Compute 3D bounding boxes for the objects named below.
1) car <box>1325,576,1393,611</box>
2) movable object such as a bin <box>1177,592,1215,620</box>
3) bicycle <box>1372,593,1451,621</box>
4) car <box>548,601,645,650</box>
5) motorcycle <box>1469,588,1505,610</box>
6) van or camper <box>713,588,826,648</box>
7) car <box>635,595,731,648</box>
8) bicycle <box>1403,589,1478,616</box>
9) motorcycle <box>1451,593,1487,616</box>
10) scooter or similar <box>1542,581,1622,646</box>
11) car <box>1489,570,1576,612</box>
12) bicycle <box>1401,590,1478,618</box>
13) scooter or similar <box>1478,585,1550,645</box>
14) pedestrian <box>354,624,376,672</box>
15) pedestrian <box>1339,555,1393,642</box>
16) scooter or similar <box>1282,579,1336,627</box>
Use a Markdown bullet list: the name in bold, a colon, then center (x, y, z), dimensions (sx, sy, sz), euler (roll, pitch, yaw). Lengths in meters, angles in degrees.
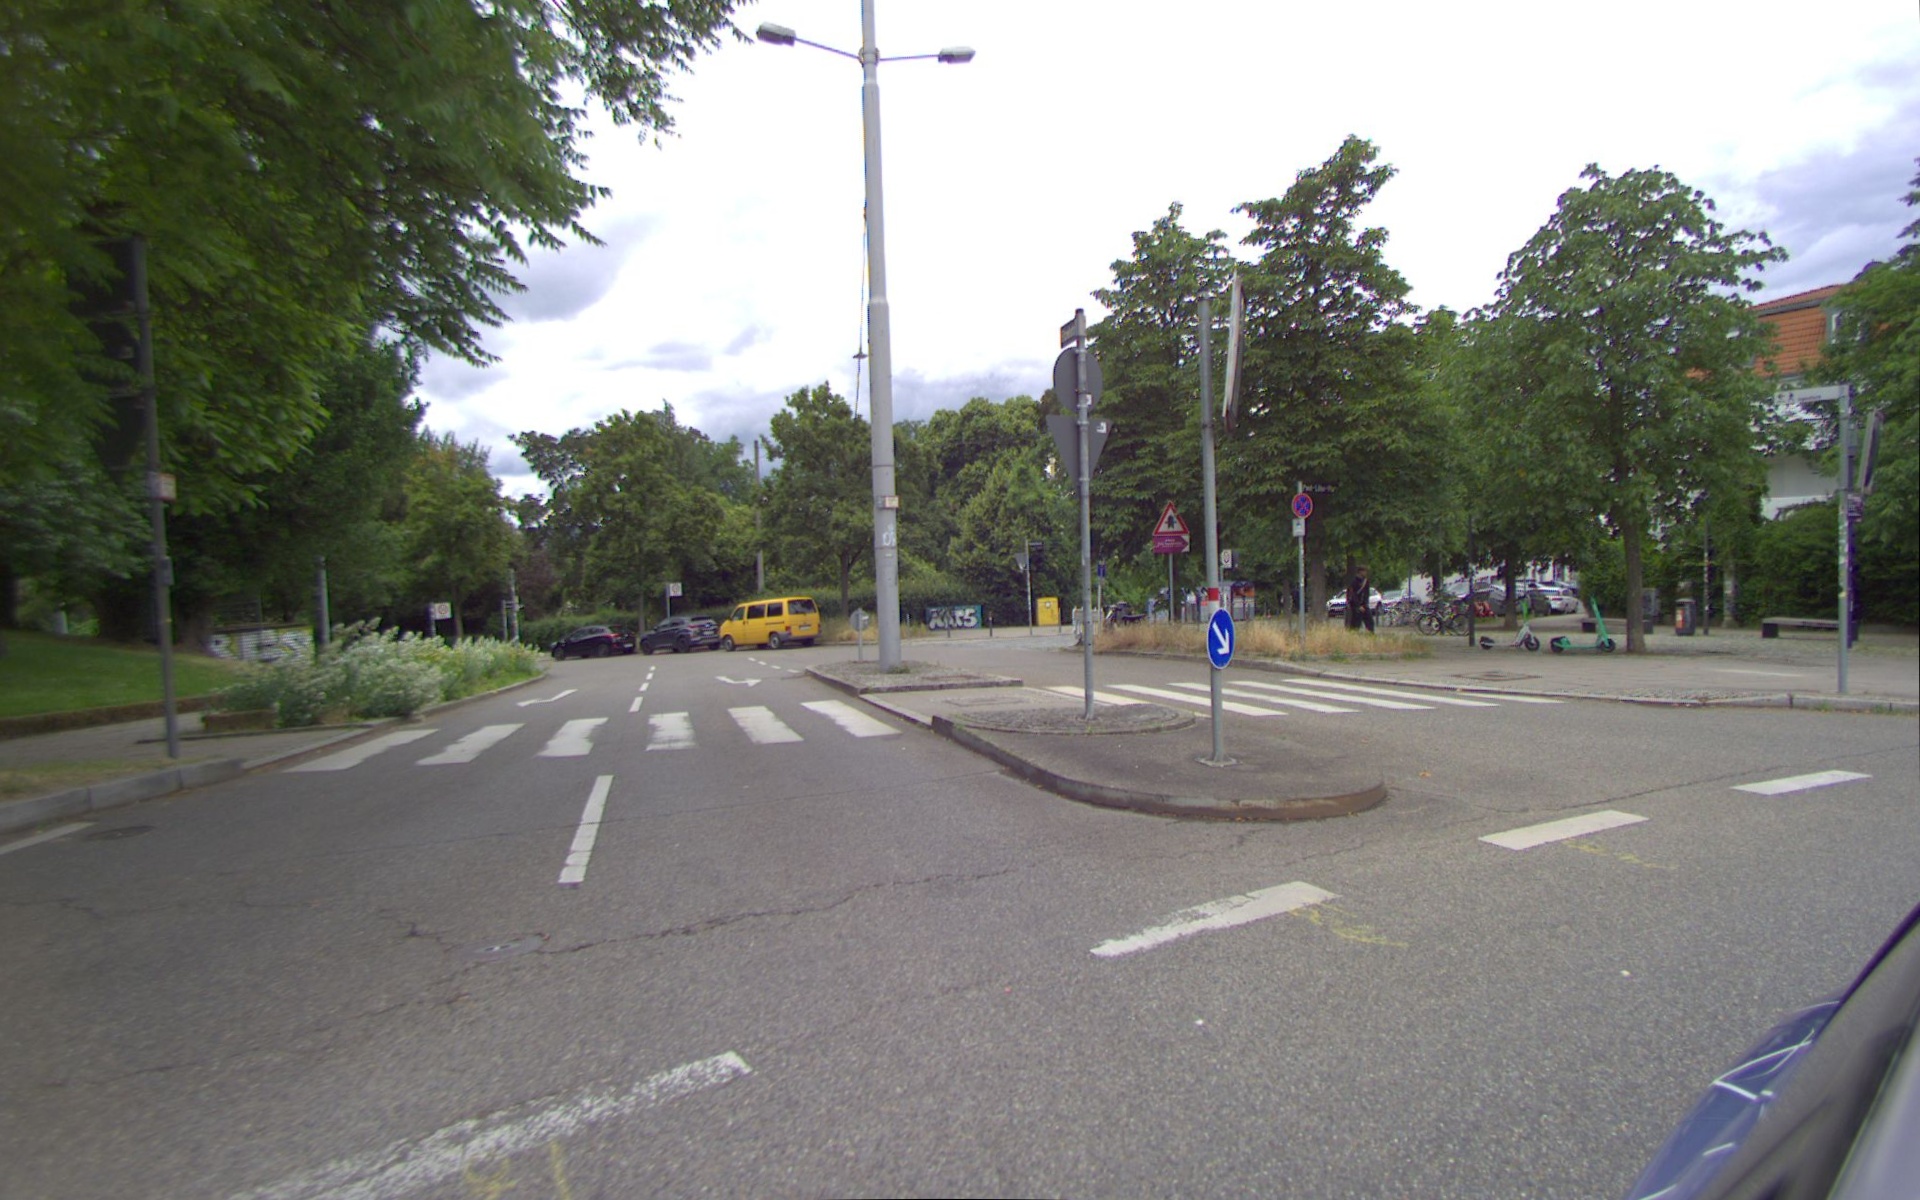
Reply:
- **car**: center (22.673, -0.389, 57.439), dimensions (1.994, 1.927, 4.639), euler (1, 1, 45)
- **movable object such as a bin**: center (10.308, 0.252, 44.252), dimensions (1.288, 1.180, 1.064), euler (0, 1, -9)
- **bicycle**: center (19.128, 0.294, 42.914), dimensions (2.897, 1.160, 0.924), euler (0, 1, -2)
- **car**: center (-16.559, 1.122, 46.105), dimensions (3.961, 2.039, 1.982), euler (1, 1, 27)
- **motorcycle**: center (25.148, -0.067, 48.304), dimensions (2.017, 1.046, 0.755), euler (-1, 1, -37)
- **van or camper**: center (-7.438, 0.716, 39.270), dimensions (4.449, 2.002, 1.863), euler (-4, 0, 41)
- **car**: center (-11.791, 0.857, 43.036), dimensions (3.979, 2.039, 1.973), euler (1, 1, 38)
- **bicycle**: center (21.382, 0.128, 45.065), dimensions (2.897, 1.160, 0.924), euler (0, 1, -2)
- **motorcycle**: center (24.666, 0.206, 48.994), dimensions (2.017, 1.046, 0.755), euler (-1, 1, -37)
- **scooter or similar**: center (12.245, 0.253, 19.939), dimensions (0.492, 1.242, 1.247), euler (0, 0, -38)
- **car**: center (29.040, -0.486, 51.332), dimensions (3.758, 2.039, 1.978), euler (1, 1, 32)
- **bicycle**: center (20.878, 0.182, 44.064), dimensions (2.897, 1.160, 0.924), euler (0, 1, -2)
- **scooter or similar**: center (11.786, 0.315, 21.565), dimensions (0.492, 1.242, 1.247), euler (0, 0, -38)
- **pedestrian**: center (-21.477, 1.731, 36.522), dimensions (0.657, 1.669, 0.669), euler (0, 1, -33)
- **pedestrian**: center (9.142, -0.038, 22.816), dimensions (0.841, 1.910, 0.965), euler (0, 0, 1)
- **scooter or similar**: center (9.417, 0.075, 27.354), dimensions (1.296, 1.264, 0.463), euler (0, 0, 5)
